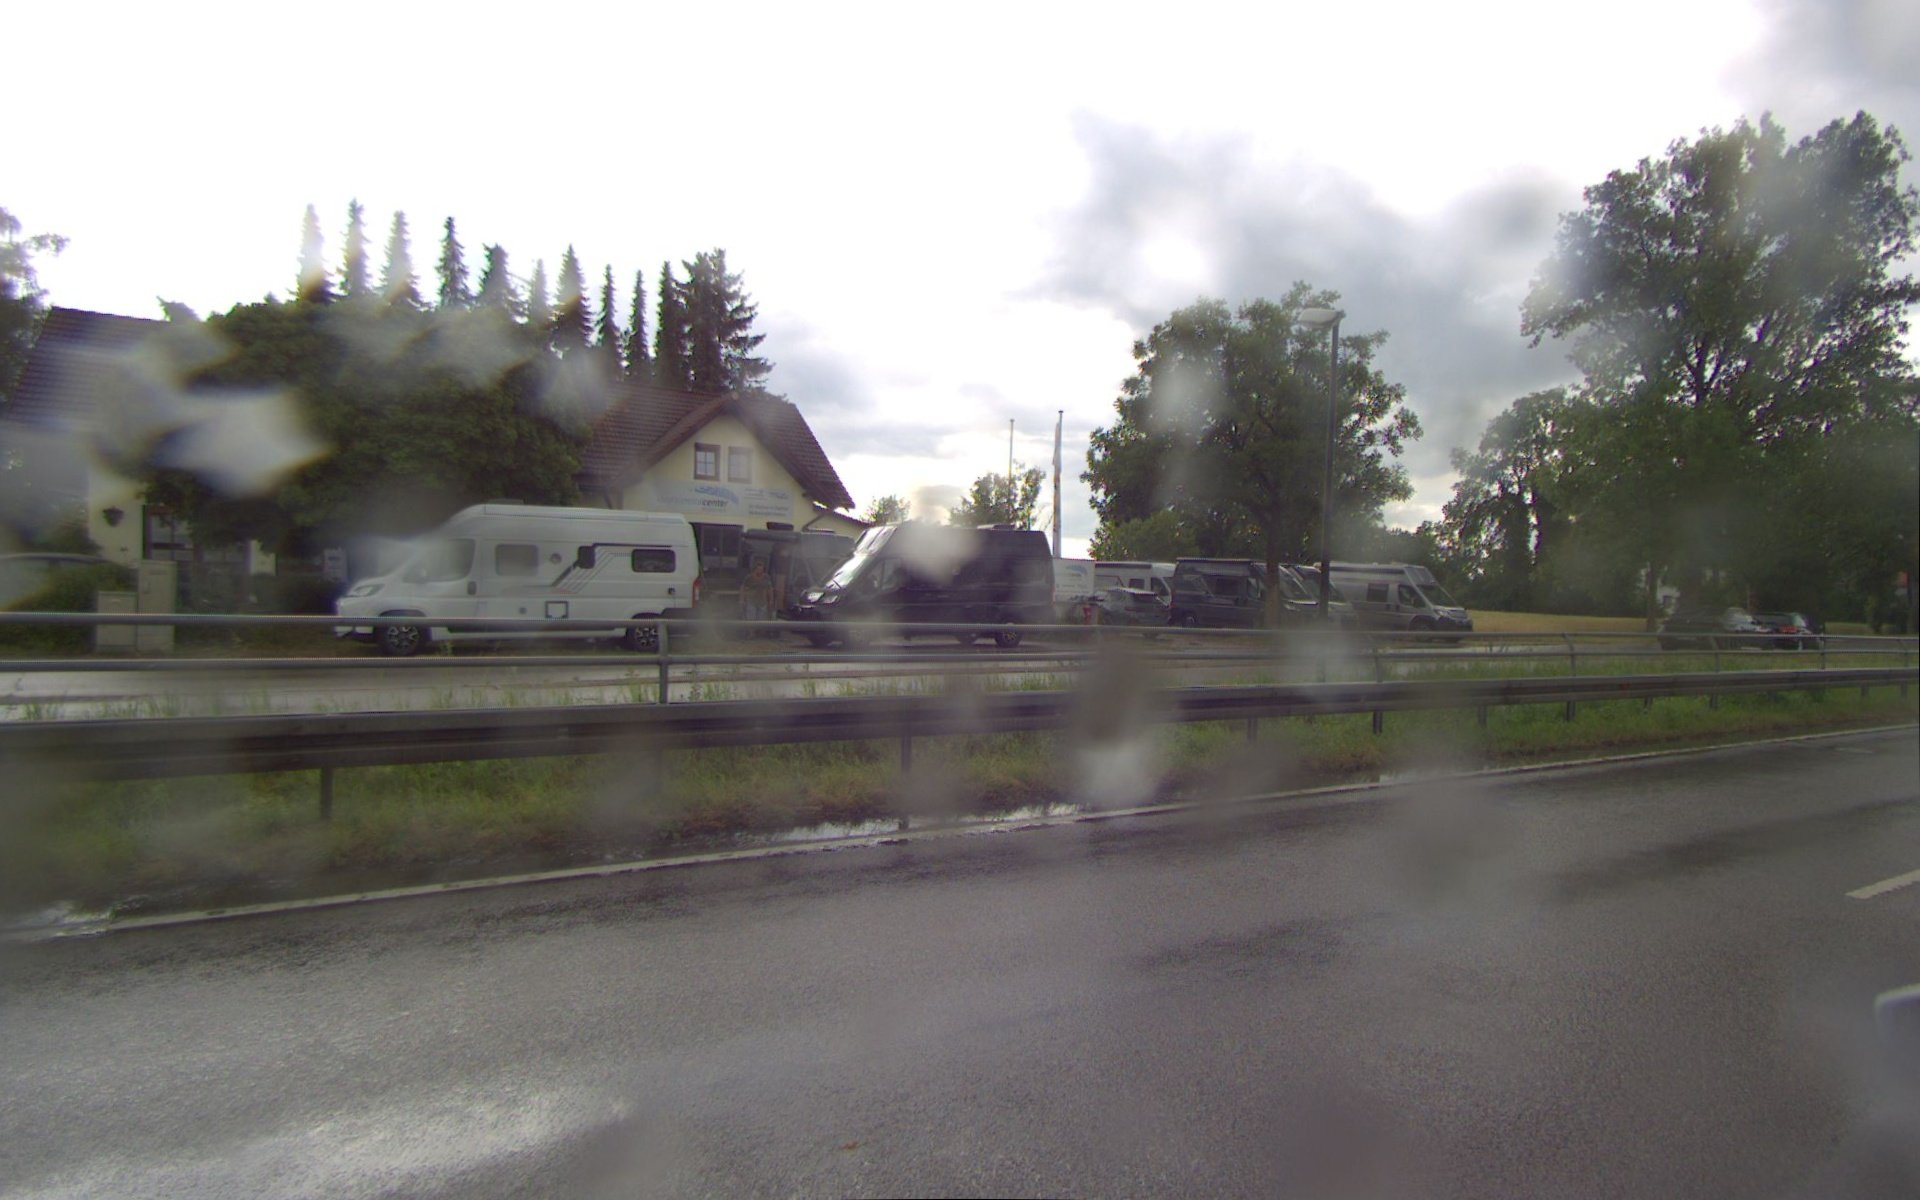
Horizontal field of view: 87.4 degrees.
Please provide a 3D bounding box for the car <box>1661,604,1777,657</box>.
[{"bbox_3d":[24.529,0.962,32.399,5.072,1.511,1.505,1,2,-36],"label":"car"}]

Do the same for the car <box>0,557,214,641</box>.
[{"bbox_3d":[-15.335,-0.016,17.788,3.232,1.374,1.441,1,1,-30],"label":"car"}]

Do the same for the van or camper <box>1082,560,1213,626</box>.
[{"bbox_3d":[8.098,-0.367,43.984,1.982,2.625,5.761,1,2,-37],"label":"van or camper"}]

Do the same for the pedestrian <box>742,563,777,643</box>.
[{"bbox_3d":[-4.448,0.068,22.297,0.641,1.733,0.514,1,2,-23],"label":"pedestrian"}]

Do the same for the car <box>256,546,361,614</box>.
[{"bbox_3d":[-16.396,-0.540,25.210,2.005,1.576,3.689,-1,3,-36],"label":"car"}]

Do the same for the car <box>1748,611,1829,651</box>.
[{"bbox_3d":[29.854,1.094,36.174,3.860,1.349,1.274,1,1,-36],"label":"car"}]

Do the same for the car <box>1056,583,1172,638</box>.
[{"bbox_3d":[4.731,0.307,31.445,1.521,1.516,3.867,1,2,-29],"label":"car"}]

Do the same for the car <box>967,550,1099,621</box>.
[{"bbox_3d":[2.753,-0.626,39.818,2.067,2.573,6.061,1,1,-30],"label":"car"}]

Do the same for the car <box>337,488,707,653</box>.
[{"bbox_3d":[-7.929,-0.459,18.467,5.953,2.615,2.224,1,2,-33],"label":"car"}]

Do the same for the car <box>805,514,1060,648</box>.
[{"bbox_3d":[-0.573,-0.396,23.514,5.514,2.800,2.368,1,2,-34],"label":"car"}]

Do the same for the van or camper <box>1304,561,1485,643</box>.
[{"bbox_3d":[15.799,0.004,36.907,2.061,2.713,5.834,1,2,-35],"label":"van or camper"}]

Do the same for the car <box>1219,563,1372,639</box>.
[{"bbox_3d":[11.996,-0.026,36.276,1.979,2.492,5.061,1,2,-33],"label":"car"}]

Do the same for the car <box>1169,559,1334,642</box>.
[{"bbox_3d":[9.669,-0.049,33.786,1.980,2.535,5.146,1,2,-35],"label":"car"}]

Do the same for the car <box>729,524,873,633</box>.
[{"bbox_3d":[-4.724,-0.636,28.894,2.142,2.802,5.609,1,1,-31],"label":"car"}]
